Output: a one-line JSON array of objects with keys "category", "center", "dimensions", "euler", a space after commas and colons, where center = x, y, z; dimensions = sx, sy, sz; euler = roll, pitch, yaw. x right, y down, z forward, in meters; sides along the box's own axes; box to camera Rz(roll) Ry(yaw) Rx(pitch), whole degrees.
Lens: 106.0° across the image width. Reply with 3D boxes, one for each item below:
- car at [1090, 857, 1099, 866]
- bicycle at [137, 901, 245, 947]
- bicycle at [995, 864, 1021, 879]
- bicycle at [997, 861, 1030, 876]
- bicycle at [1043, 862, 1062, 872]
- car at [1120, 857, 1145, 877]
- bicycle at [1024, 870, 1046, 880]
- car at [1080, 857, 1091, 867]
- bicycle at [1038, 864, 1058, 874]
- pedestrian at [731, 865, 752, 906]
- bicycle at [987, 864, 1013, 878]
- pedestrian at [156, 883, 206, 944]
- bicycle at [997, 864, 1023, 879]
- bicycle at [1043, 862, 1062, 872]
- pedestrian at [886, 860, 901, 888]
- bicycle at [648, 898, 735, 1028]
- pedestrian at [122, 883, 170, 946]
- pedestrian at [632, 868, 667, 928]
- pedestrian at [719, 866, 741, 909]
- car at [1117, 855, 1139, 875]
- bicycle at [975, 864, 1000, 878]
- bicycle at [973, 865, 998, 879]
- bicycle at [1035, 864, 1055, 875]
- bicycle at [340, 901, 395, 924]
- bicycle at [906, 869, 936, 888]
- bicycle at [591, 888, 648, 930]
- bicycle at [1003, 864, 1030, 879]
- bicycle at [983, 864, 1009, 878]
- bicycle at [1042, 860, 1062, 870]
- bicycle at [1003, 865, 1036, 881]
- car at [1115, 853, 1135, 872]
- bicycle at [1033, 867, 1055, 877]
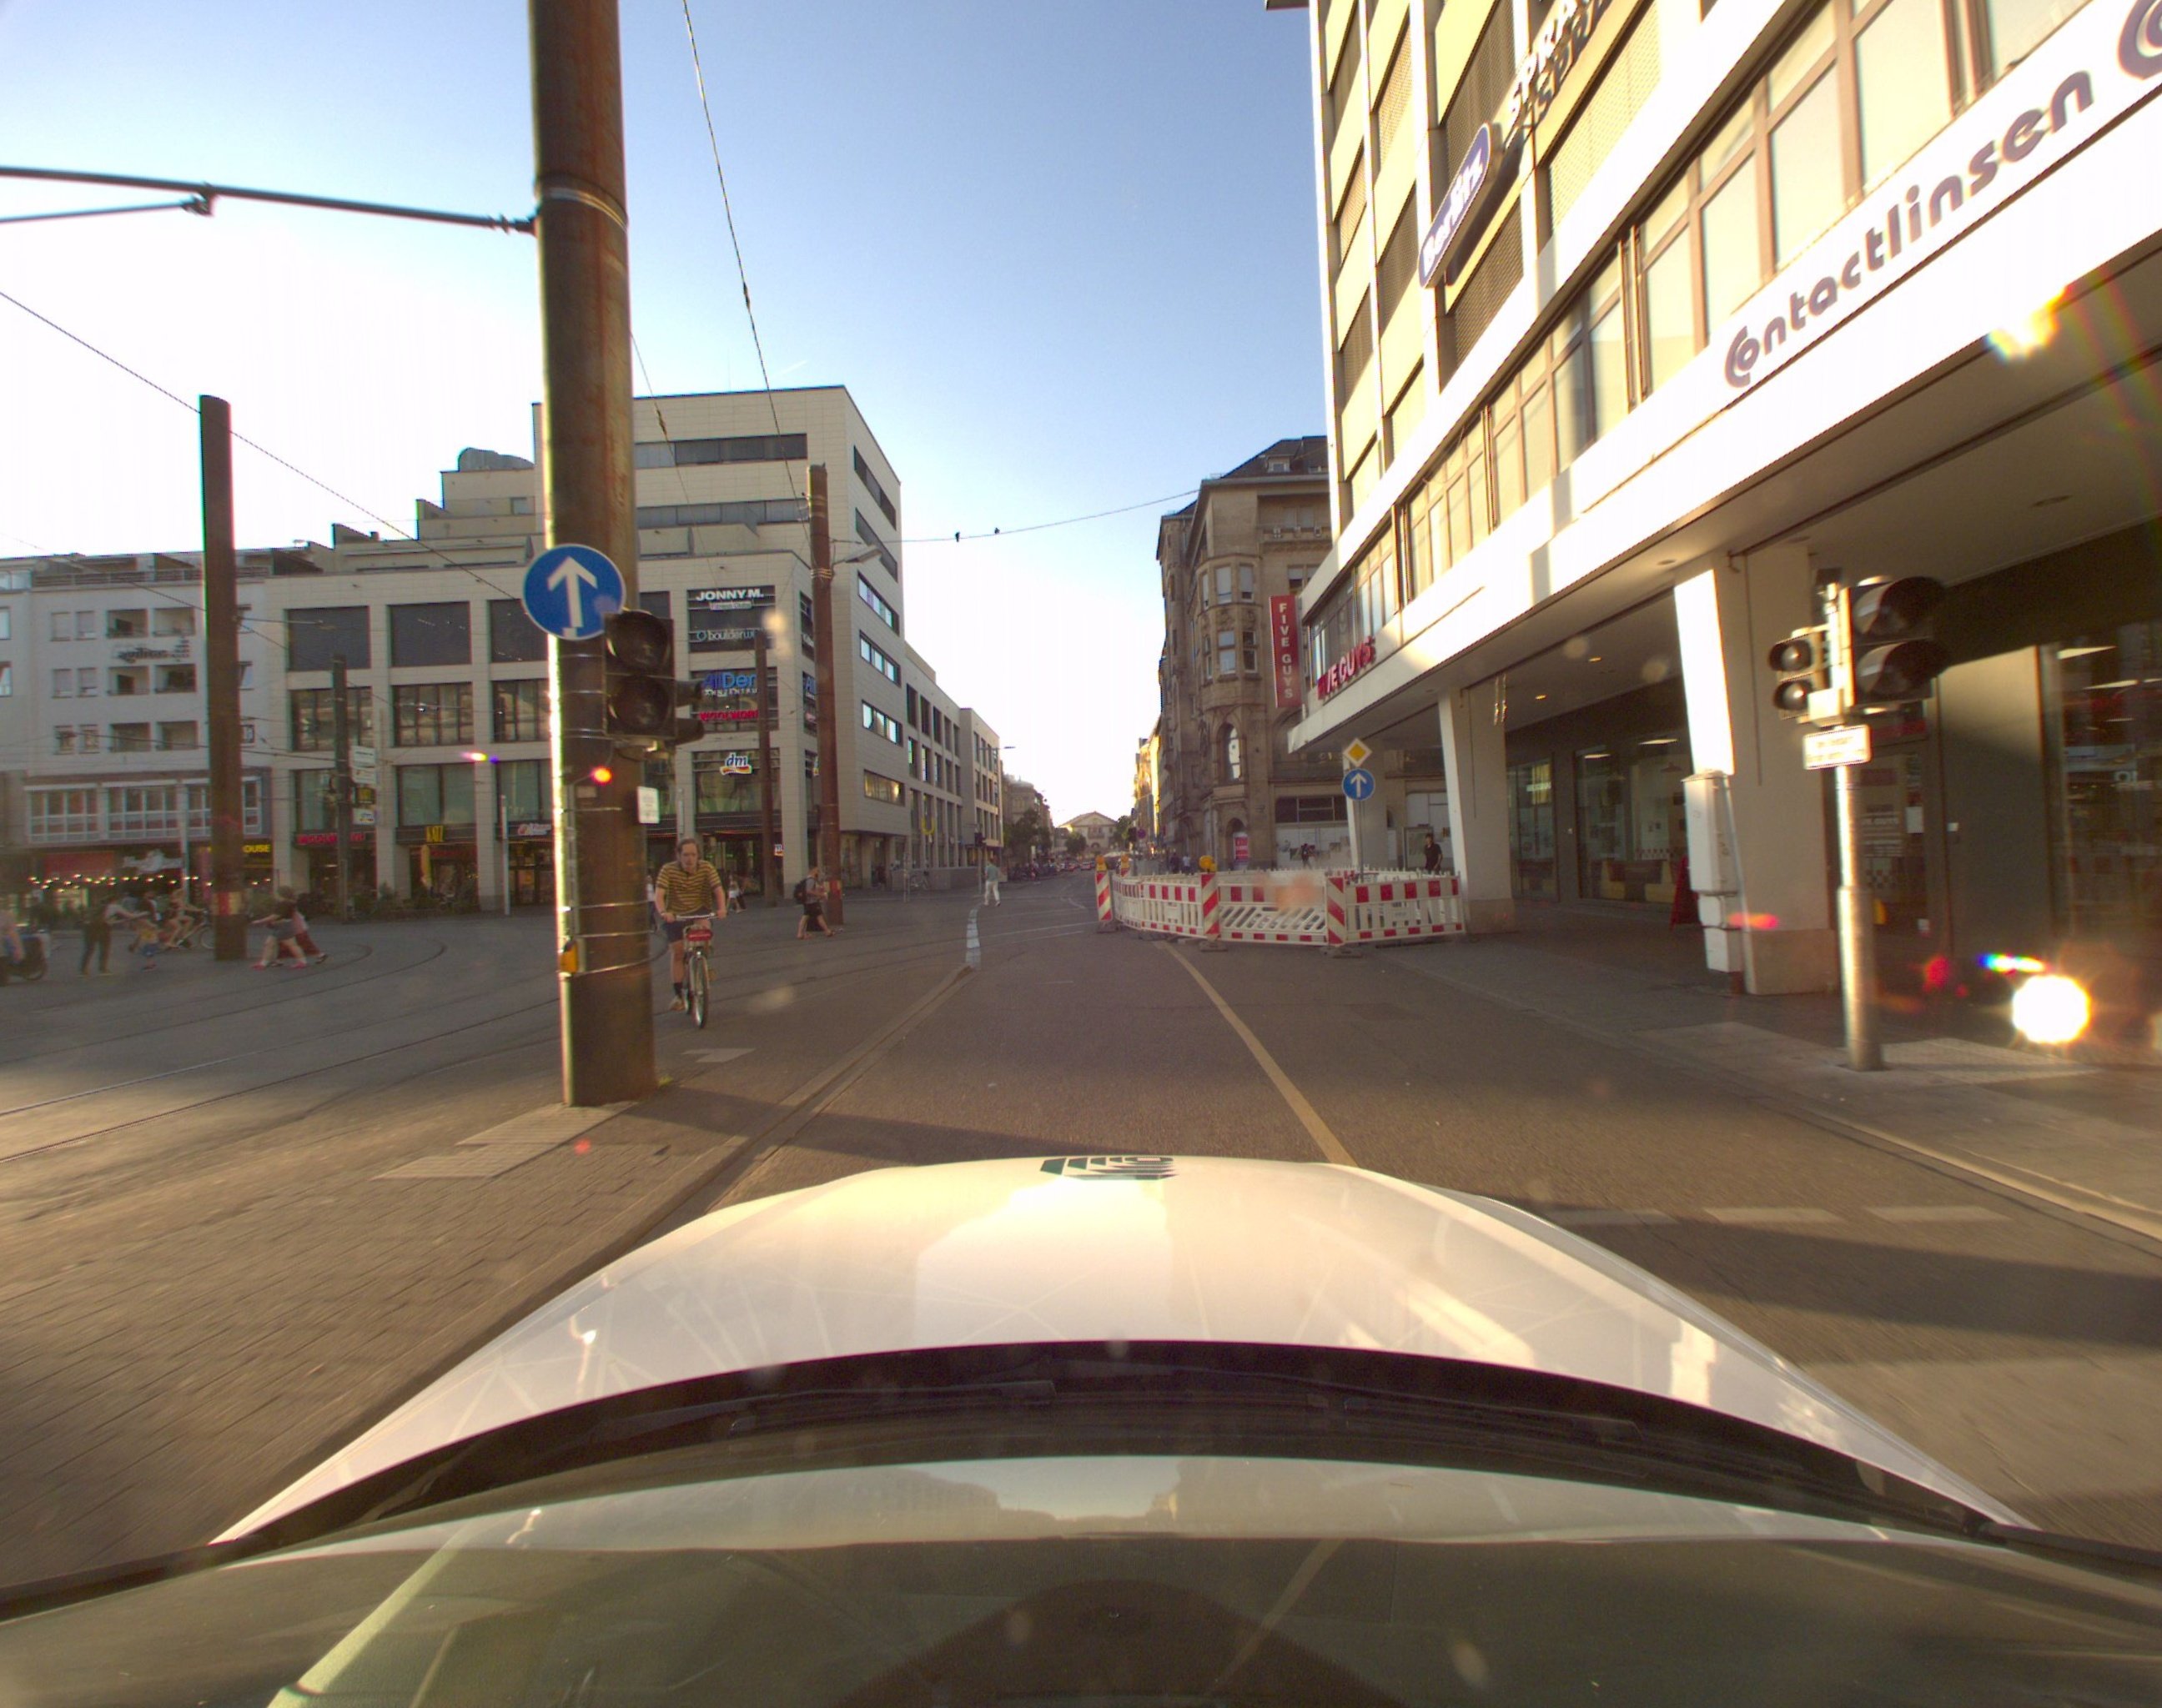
[{"category": "car", "center": [2.946, 1.613, 176.719], "dimensions": [1.986, 1.904, 4.001], "euler": [-1, -1, 2]}, {"category": "bicycle", "center": [-24.435, 1.896, 22.417], "dimensions": [1.929, 1.115, 0.692], "euler": [-1, -1, -41]}, {"category": "bicycle", "center": [-5.782, 1.369, 64.892], "dimensions": [1.978, 1.122, 0.553], "euler": [-1, -1, -27]}, {"category": "bicycle", "center": [-6.225, 1.367, 75.472], "dimensions": [2.901, 1.255, 0.797], "euler": [-2, -1, -24]}, {"category": "bicycle", "center": [-3.306, 1.550, 94.825], "dimensions": [2.139, 1.029, 0.641], "euler": [-2, -1, 3]}, {"category": "car", "center": [3.771, 0.935, 59.710], "dimensions": [1.672, 1.424, 3.674], "euler": [1, 0, 2]}, {"category": "bicycle", "center": [-4.668, 2.124, 82.576], "dimensions": [2.139, 0.953, 0.641], "euler": [-2, -1, 3]}, {"category": "car", "center": [0.860, 1.503, 153.922], "dimensions": [1.986, 1.904, 4.001], "euler": [-1, -1, 2]}, {"category": "bicycle", "center": [-3.660, 1.722, 91.323], "dimensions": [2.139, 1.029, 0.641], "euler": [-2, -1, 3]}, {"category": "pedestrian", "center": [-14.375, 1.325, 34.513], "dimensions": [0.526, 1.674, 0.651], "euler": [-2, 0, 3]}, {"category": "bicycle", "center": [-6.555, 1.389, 65.766], "dimensions": [1.978, 1.122, 0.553], "euler": [-1, -1, -27]}, {"category": "pedestrian", "center": [-25.864, 1.705, 23.404], "dimensions": [0.525, 1.674, 0.756], "euler": [-2, 0, 8]}, {"category": "bicycle", "center": [-5.612, 1.360, 64.170], "dimensions": [1.978, 1.122, 0.553], "euler": [-1, -1, -27]}, {"category": "bicycle", "center": [-3.326, 1.559, 95.862], "dimensions": [2.139, 1.029, 0.641], "euler": [-2, -1, 3]}, {"category": "pedestrian", "center": [-12.257, 1.299, 53.228], "dimensions": [0.779, 1.751, 0.600], "euler": [-1, -1, -1]}, {"category": "bicycle", "center": [-3.882, 1.027, 8.214], "dimensions": [0.630, 1.103, 1.613], "euler": [-3, -1, -21]}, {"category": "pedestrian", "center": [-26.007, 1.675, 22.655], "dimensions": [0.525, 1.674, 0.652], "euler": [-2, 0, 8]}, {"category": "pedestrian", "center": [-12.406, 1.255, 23.430], "dimensions": [0.644, 1.674, 0.532], "euler": [-2, 0, 10]}, {"category": "pedestrian", "center": [-14.068, 1.321, 32.663], "dimensions": [0.526, 1.674, 0.651], "euler": [-2, 0, 3]}, {"category": "car", "center": [4.035, 0.948, 70.225], "dimensions": [1.673, 1.547, 3.674], "euler": [-4, -1, 2]}, {"category": "bicycle", "center": [-7.744, 1.425, 67.669], "dimensions": [1.978, 1.122, 0.553], "euler": [-1, -1, -27]}, {"category": "bicycle", "center": [-8.062, 1.508, 68.623], "dimensions": [1.978, 1.122, 0.553], "euler": [-1, -1, -27]}, {"category": "bicycle", "center": [-4.033, 1.723, 90.540], "dimensions": [2.139, 1.029, 0.641], "euler": [-2, -1, 3]}, {"category": "bicycle", "center": [-34.341, 2.799, 39.231], "dimensions": [0.445, 0.986, 1.939], "euler": [-2, -1, 37]}, {"category": "bicycle", "center": [-9.671, 1.455, 49.185], "dimensions": [1.688, 1.122, 0.451], "euler": [-1, -1, 4]}, {"category": "bicycle", "center": [-13.270, 1.562, 23.496], "dimensions": [0.571, 1.098, 2.020], "euler": [-1, -1, -3]}, {"category": "bicycle", "center": [-5.027, 1.344, 63.406], "dimensions": [1.978, 1.122, 0.553], "euler": [-1, -1, -27]}, {"category": "bicycle", "center": [-6.935, 1.401, 66.416], "dimensions": [1.978, 1.122, 0.553], "euler": [-1, -1, -27]}, {"category": "bicycle", "center": [-3.333, 1.307, 94.058], "dimensions": [2.139, 1.029, 0.641], "euler": [-2, -1, 3]}, {"category": "bicycle", "center": [-5.579, 1.736, 74.237], "dimensions": [2.901, 1.255, 0.797], "euler": [-2, -1, -24]}, {"category": "car", "center": [4.086, 0.766, 76.668], "dimensions": [1.673, 1.613, 4.029], "euler": [-4, -1, 2]}, {"category": "bicycle", "center": [-3.890, 1.910, 85.677], "dimensions": [2.139, 0.953, 0.641], "euler": [-2, -1, 3]}]
